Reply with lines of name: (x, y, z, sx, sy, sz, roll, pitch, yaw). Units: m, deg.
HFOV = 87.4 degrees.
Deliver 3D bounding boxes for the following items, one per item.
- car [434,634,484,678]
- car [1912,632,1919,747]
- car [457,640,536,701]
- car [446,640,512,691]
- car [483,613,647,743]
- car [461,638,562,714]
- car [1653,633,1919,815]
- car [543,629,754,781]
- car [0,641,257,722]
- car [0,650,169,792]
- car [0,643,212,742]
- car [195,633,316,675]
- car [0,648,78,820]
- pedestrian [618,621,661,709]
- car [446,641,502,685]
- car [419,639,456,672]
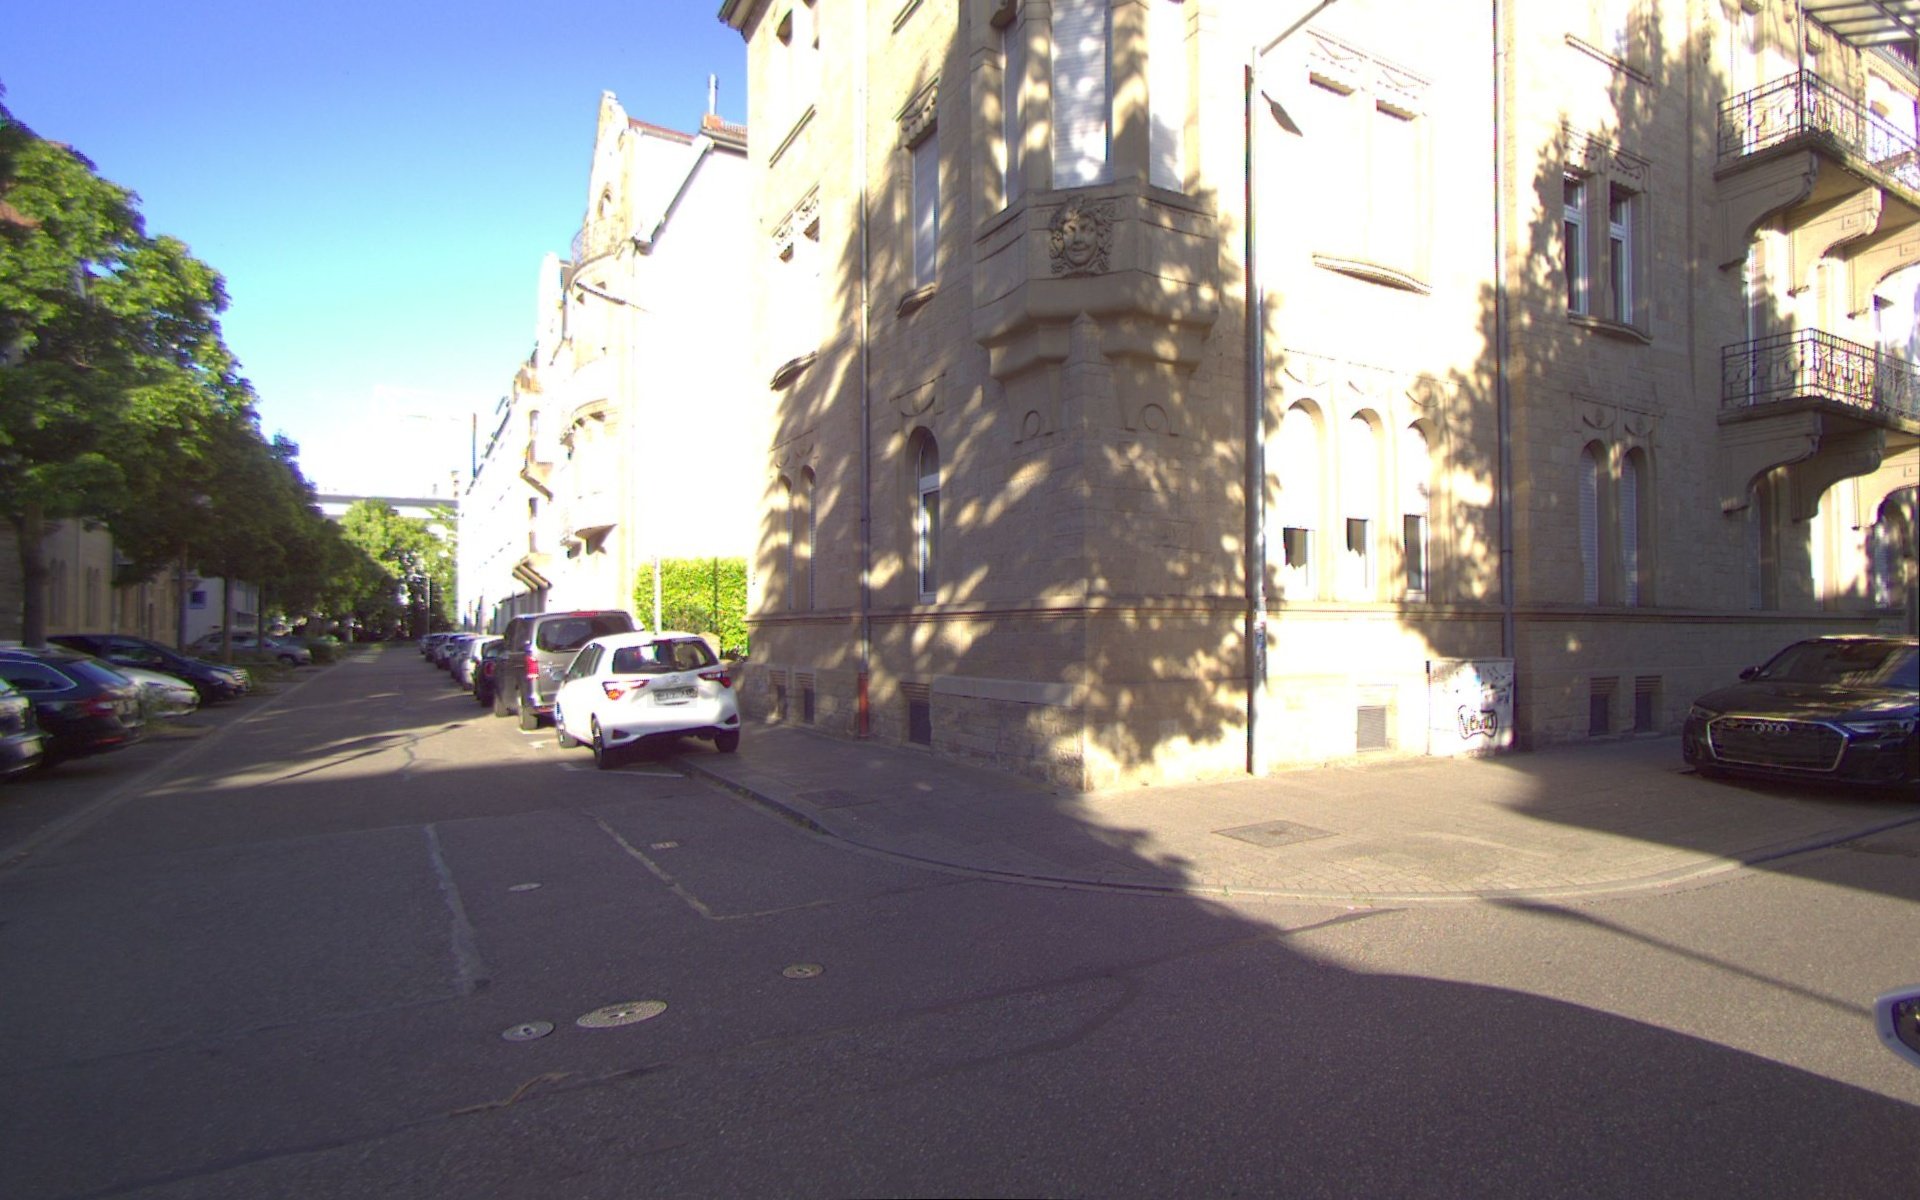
car: (-21.973, 2.423, 44.033, 1.634, 1.753, 3.387, -3, -1, -31)
car: (14.399, 1.176, 13.265, 3.983, 1.472, 1.687, 2, -2, -32)
car: (-12.415, 1.827, 26.811, 1.471, 1.423, 3.386, -3, -1, -31)
car: (-15.088, 2.005, 31.425, 1.471, 1.423, 3.386, -3, -1, -31)
car: (-7.093, 1.275, 17.721, 1.846, 1.891, 4.689, -3, -1, -31)
car: (-10.372, 1.670, 23.074, 1.584, 1.493, 3.870, -3, -1, -31)
car: (9.376, 1.104, 10.376, 4.841, 1.446, 1.802, 1, 0, -31)
car: (-4.172, 1.224, 13.060, 1.699, 1.571, 3.776, -3, -1, -32)
car: (-17.985, 1.711, 21.897, 4.162, 1.570, 1.705, 1, -3, -30)
car: (-11.553, 1.337, 11.326, 3.870, 1.532, 1.705, 2, -2, -30)
car: (-15.547, 1.546, 17.204, 4.163, 1.570, 1.705, 1, -3, -30)
car: (-30.589, 2.338, 43.758, 4.165, 1.722, 1.704, 1, -3, -32)
car: (-10.861, 1.238, 8.981, 4.163, 1.570, 1.705, 1, -3, -30)
pedestrian: (-6.385, 1.306, 19.987, 0.691, 1.708, 0.760, 1, -6, -28)
car: (-17.837, 2.270, 36.800, 1.471, 1.423, 3.386, -3, -1, -31)
car: (-29.990, 3.135, 57.620, 1.634, 1.753, 3.387, -3, -1, -31)
